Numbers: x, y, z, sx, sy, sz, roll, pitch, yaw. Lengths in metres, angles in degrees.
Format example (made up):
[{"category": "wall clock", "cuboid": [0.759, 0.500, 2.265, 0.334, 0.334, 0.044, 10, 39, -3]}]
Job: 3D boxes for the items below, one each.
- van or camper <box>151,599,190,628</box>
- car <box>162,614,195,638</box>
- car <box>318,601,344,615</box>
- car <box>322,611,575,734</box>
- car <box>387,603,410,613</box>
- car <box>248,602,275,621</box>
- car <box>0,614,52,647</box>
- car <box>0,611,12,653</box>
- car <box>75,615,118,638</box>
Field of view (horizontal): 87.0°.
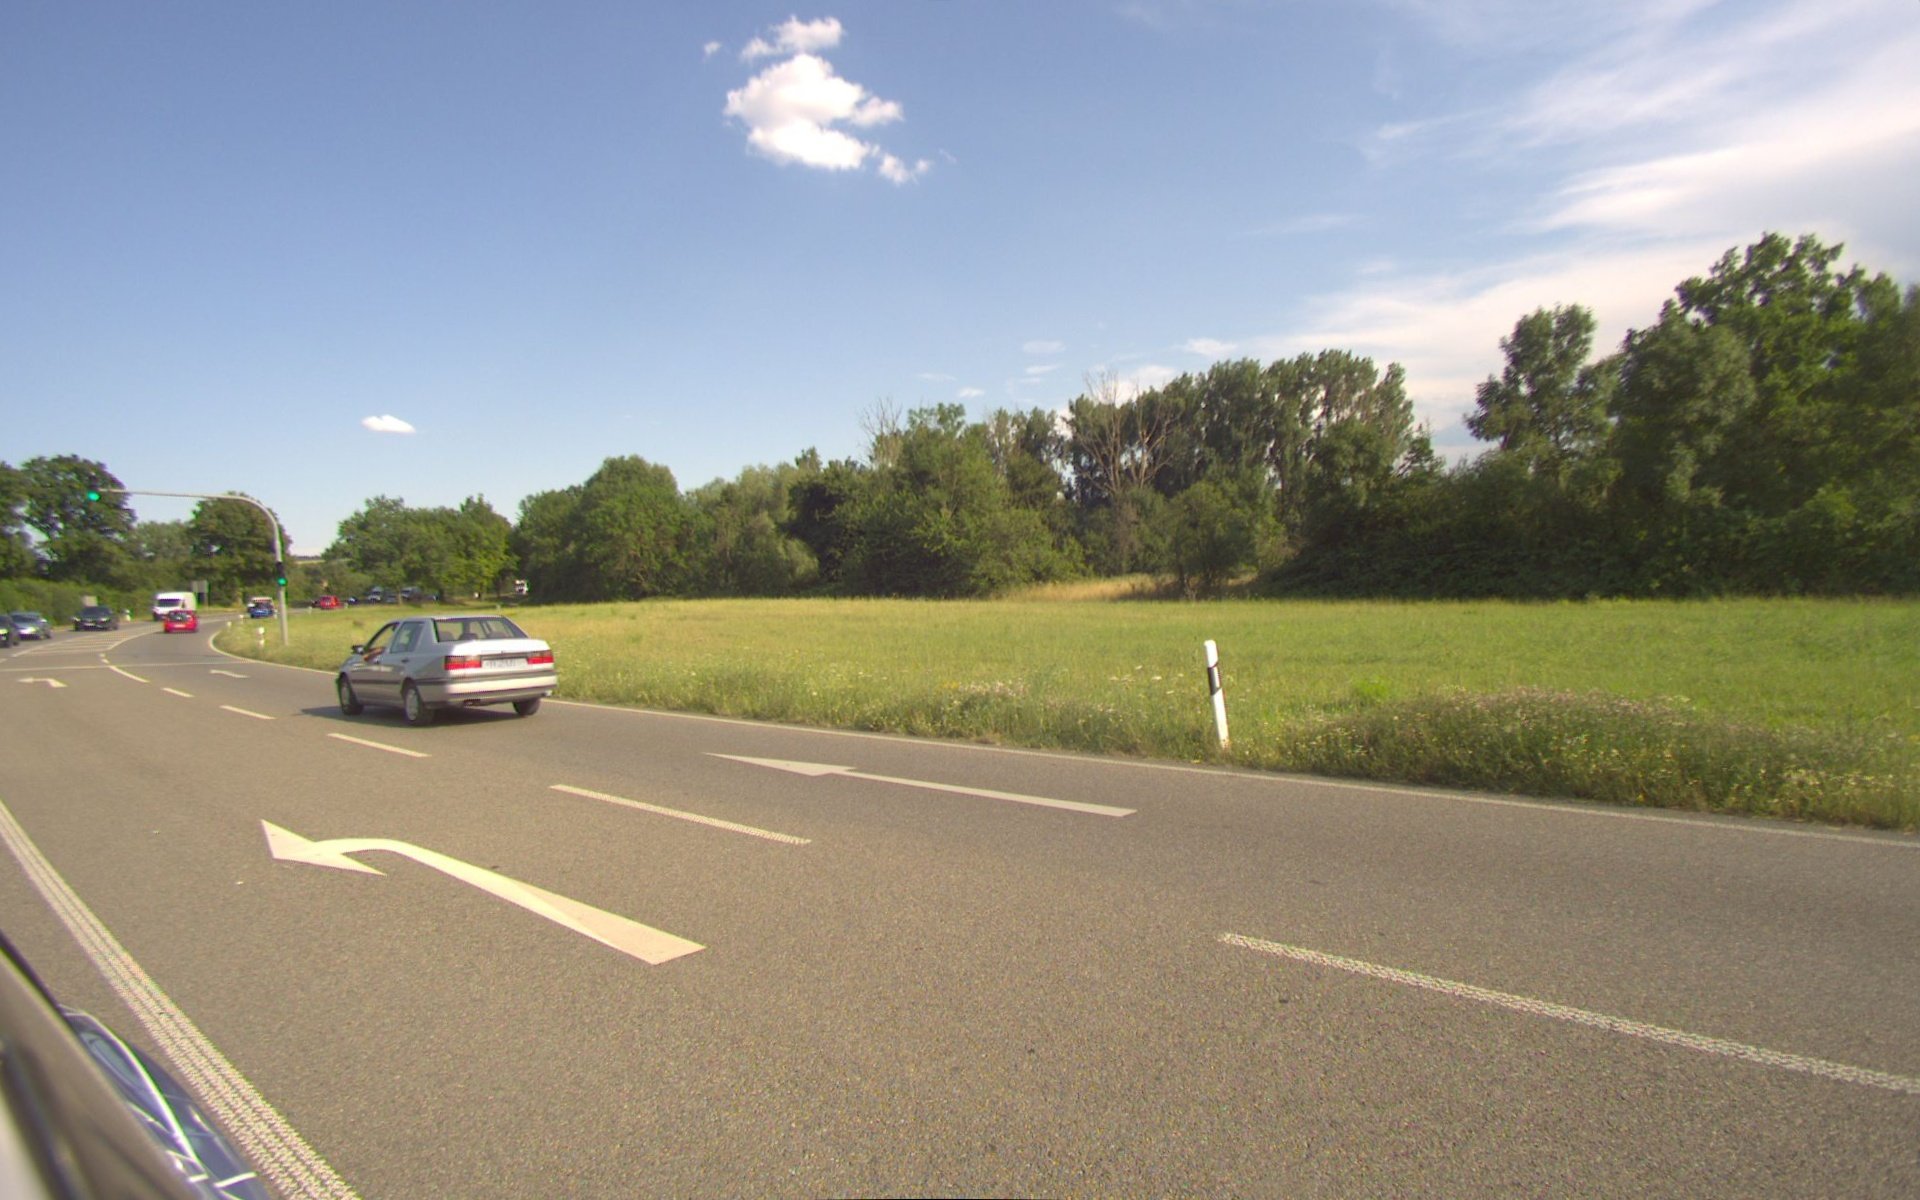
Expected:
[{"category": "van or camper", "cuboid": [-71.333, 1.199, 91.463, 2.001, 2.494, 5.093, -3, 1, -30]}, {"category": "car", "cuboid": [-49.511, 1.642, 64.144, 1.565, 1.478, 3.615, 1, -2, -37]}, {"category": "car", "cuboid": [-83.402, 1.048, 134.296, 1.854, 1.789, 4.334, 0, -1, -17]}, {"category": "car", "cuboid": [-7.237, 0.911, 14.134, 4.176, 1.439, 1.689, -1, 0, 41]}, {"category": "car", "cuboid": [-90.680, 1.268, 163.374, 1.856, 1.598, 4.338, 0, -1, -8]}, {"category": "car", "cuboid": [-68.635, 1.151, 99.502, 1.700, 1.897, 4.349, 0, -1, -28]}, {"category": "car", "cuboid": [-48.941, 1.556, 53.019, 1.609, 1.570, 3.426, 1, 0, -34]}, {"category": "car", "cuboid": [-43.374, 1.381, 44.849, 1.648, 1.741, 3.676, 2, -1, -38]}, {"category": "car", "cuboid": [-57.720, 1.752, 67.728, 1.581, 1.490, 3.627, 1, -1, -31]}]
